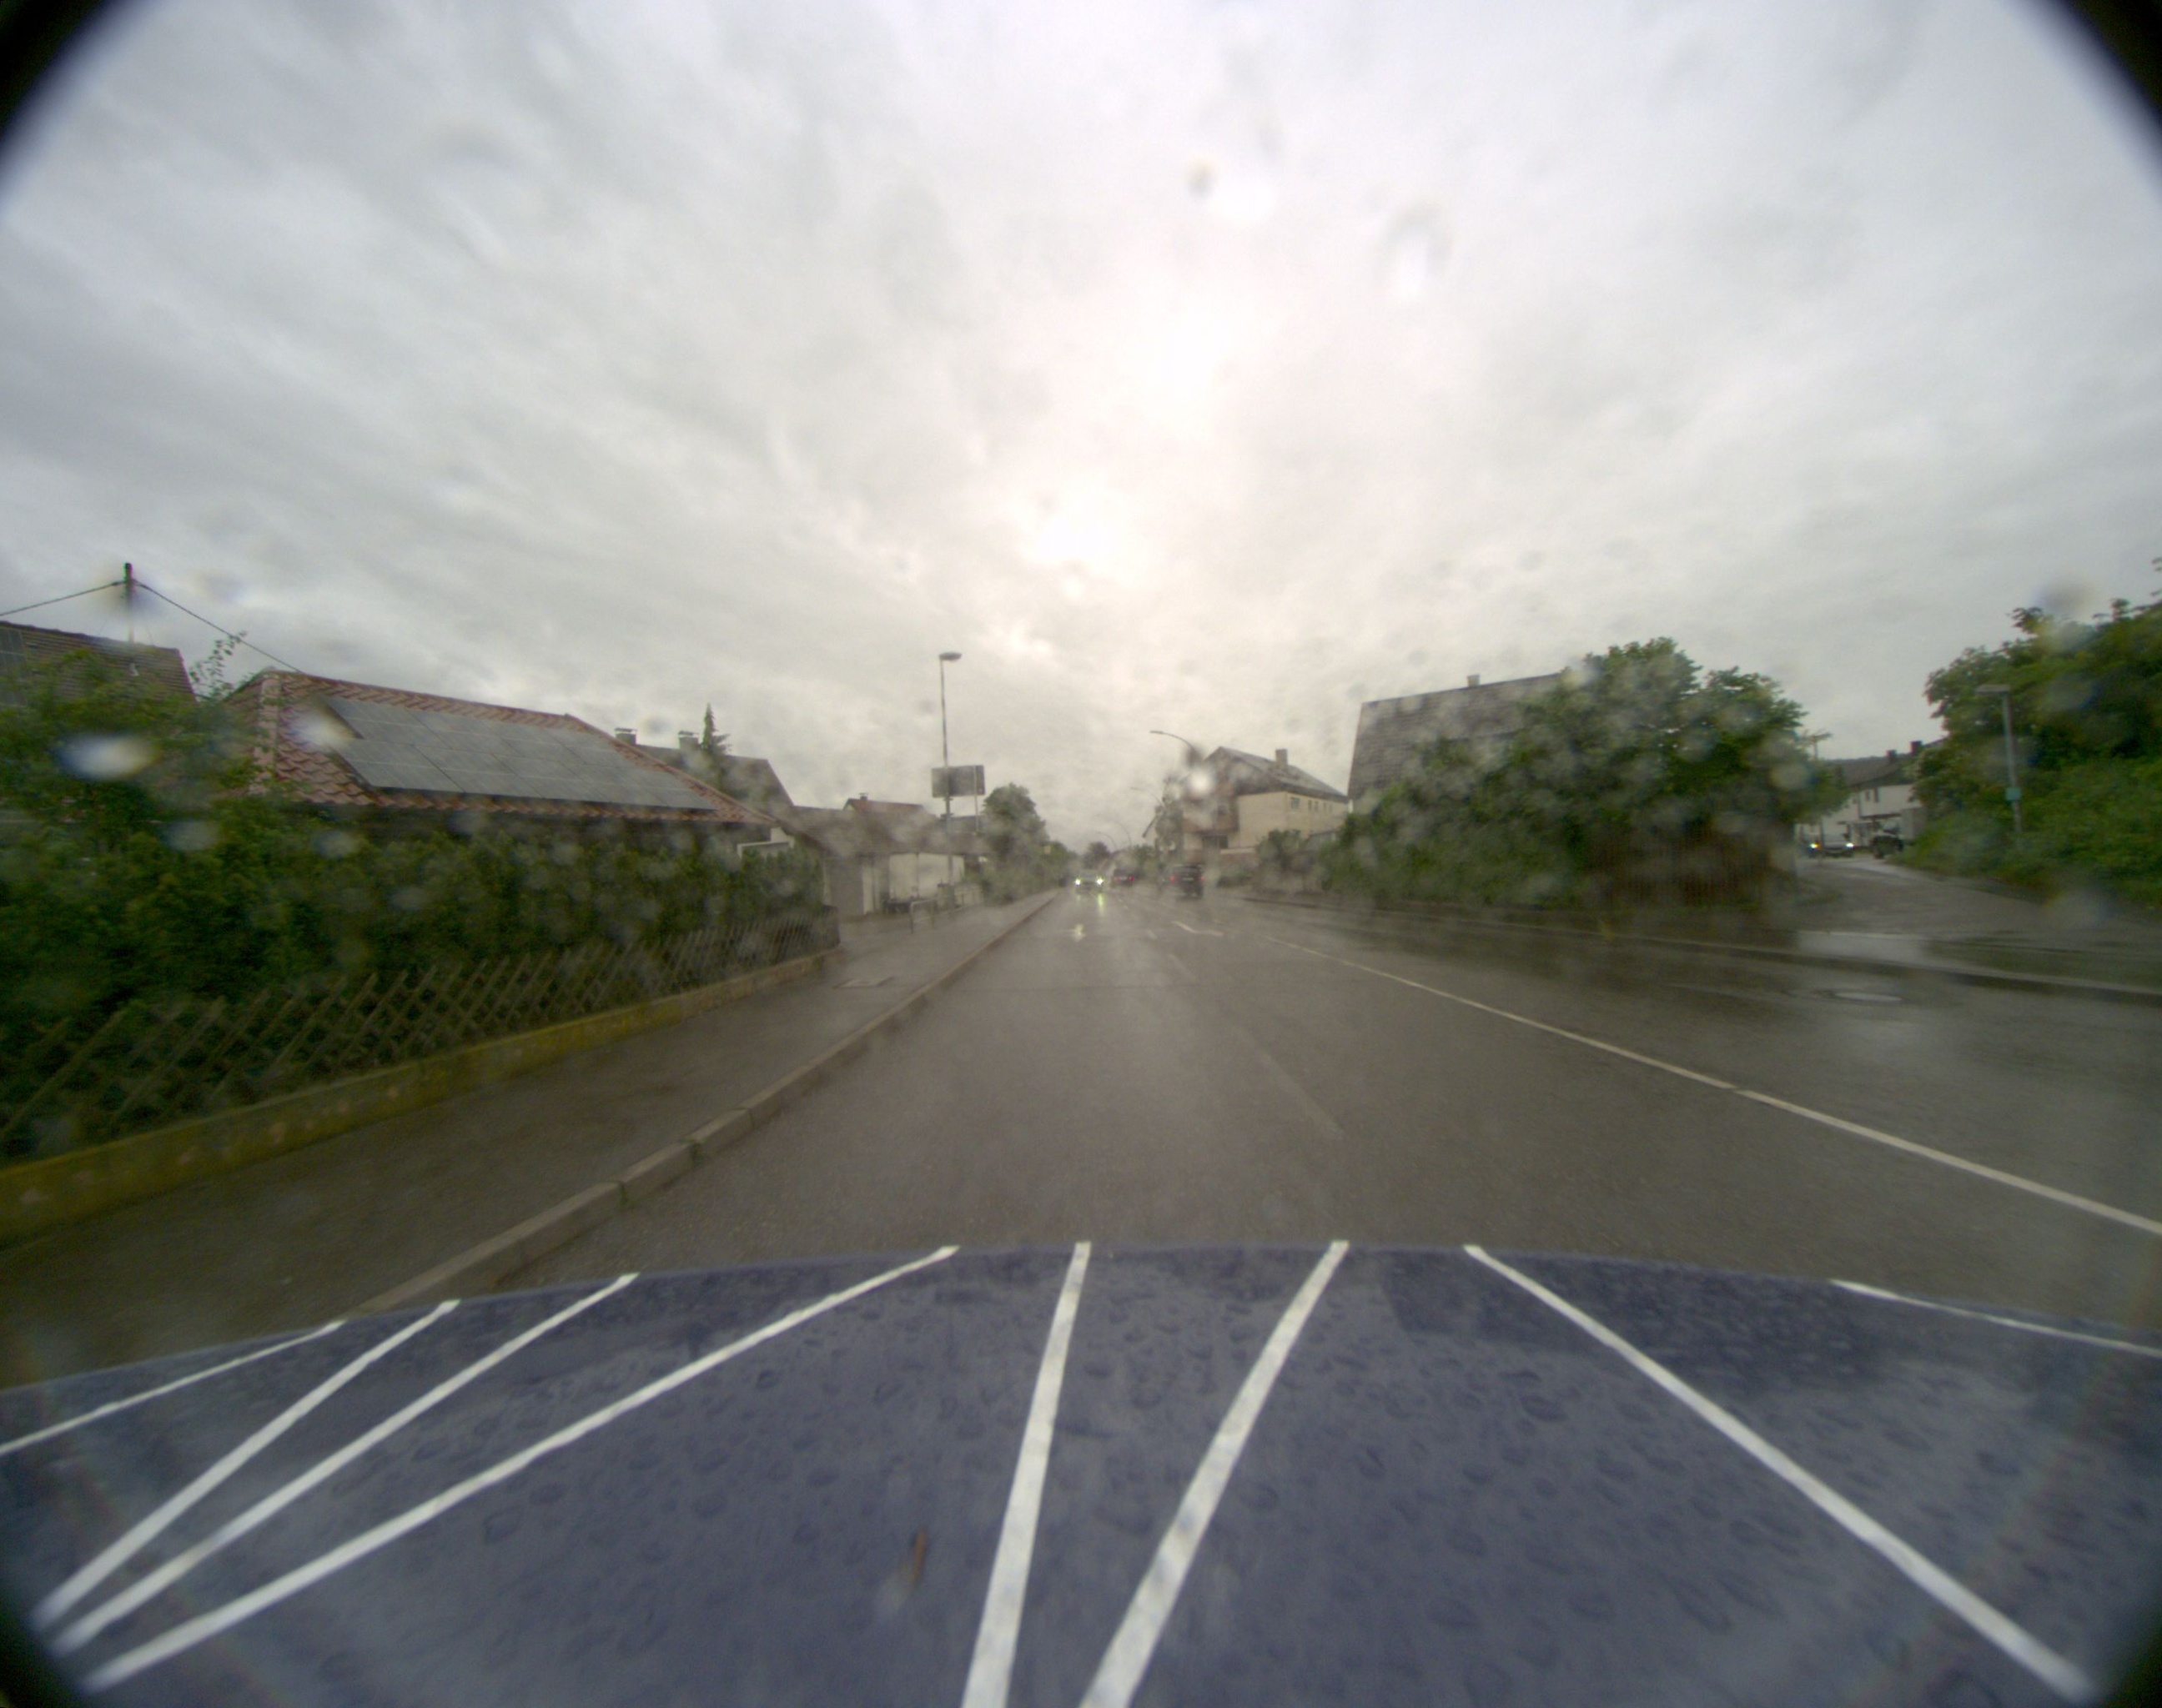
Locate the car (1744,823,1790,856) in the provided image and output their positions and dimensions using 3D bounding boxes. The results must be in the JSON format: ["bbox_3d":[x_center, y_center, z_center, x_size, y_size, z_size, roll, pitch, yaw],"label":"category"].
[{"bbox_3d":[41.930,-0.876,46.461,1.995,1.848,4.008,-3,0,42],"label":"car"}]

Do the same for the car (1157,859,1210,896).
[{"bbox_3d":[5.104,1.133,38.272,1.998,1.658,4.416,-3,0,0],"label":"car"}]

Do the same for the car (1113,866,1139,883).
[{"bbox_3d":[4.025,1.834,68.942,1.998,1.396,4.623,-2,0,0],"label":"car"}]

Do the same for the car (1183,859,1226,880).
[{"bbox_3d":[10.010,1.242,61.285,1.864,1.510,4.008,-3,0,33],"label":"car"}]

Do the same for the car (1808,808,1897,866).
[{"bbox_3d":[23.370,-0.519,23.132,1.706,1.579,3.669,-2,0,43],"label":"car"}]

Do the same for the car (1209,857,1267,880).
[{"bbox_3d":[11.470,1.032,55.465,3.661,1.510,1.758,-3,0,36],"label":"car"}]

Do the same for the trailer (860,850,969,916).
[{"bbox_3d":[-6.905,1.148,32.017,1.645,2.502,4.712,-3,-1,29],"label":"trailer"}]

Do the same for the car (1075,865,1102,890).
[{"bbox_3d":[0.489,1.563,51.566,1.688,1.486,3.939,-3,0,0],"label":"car"}]
